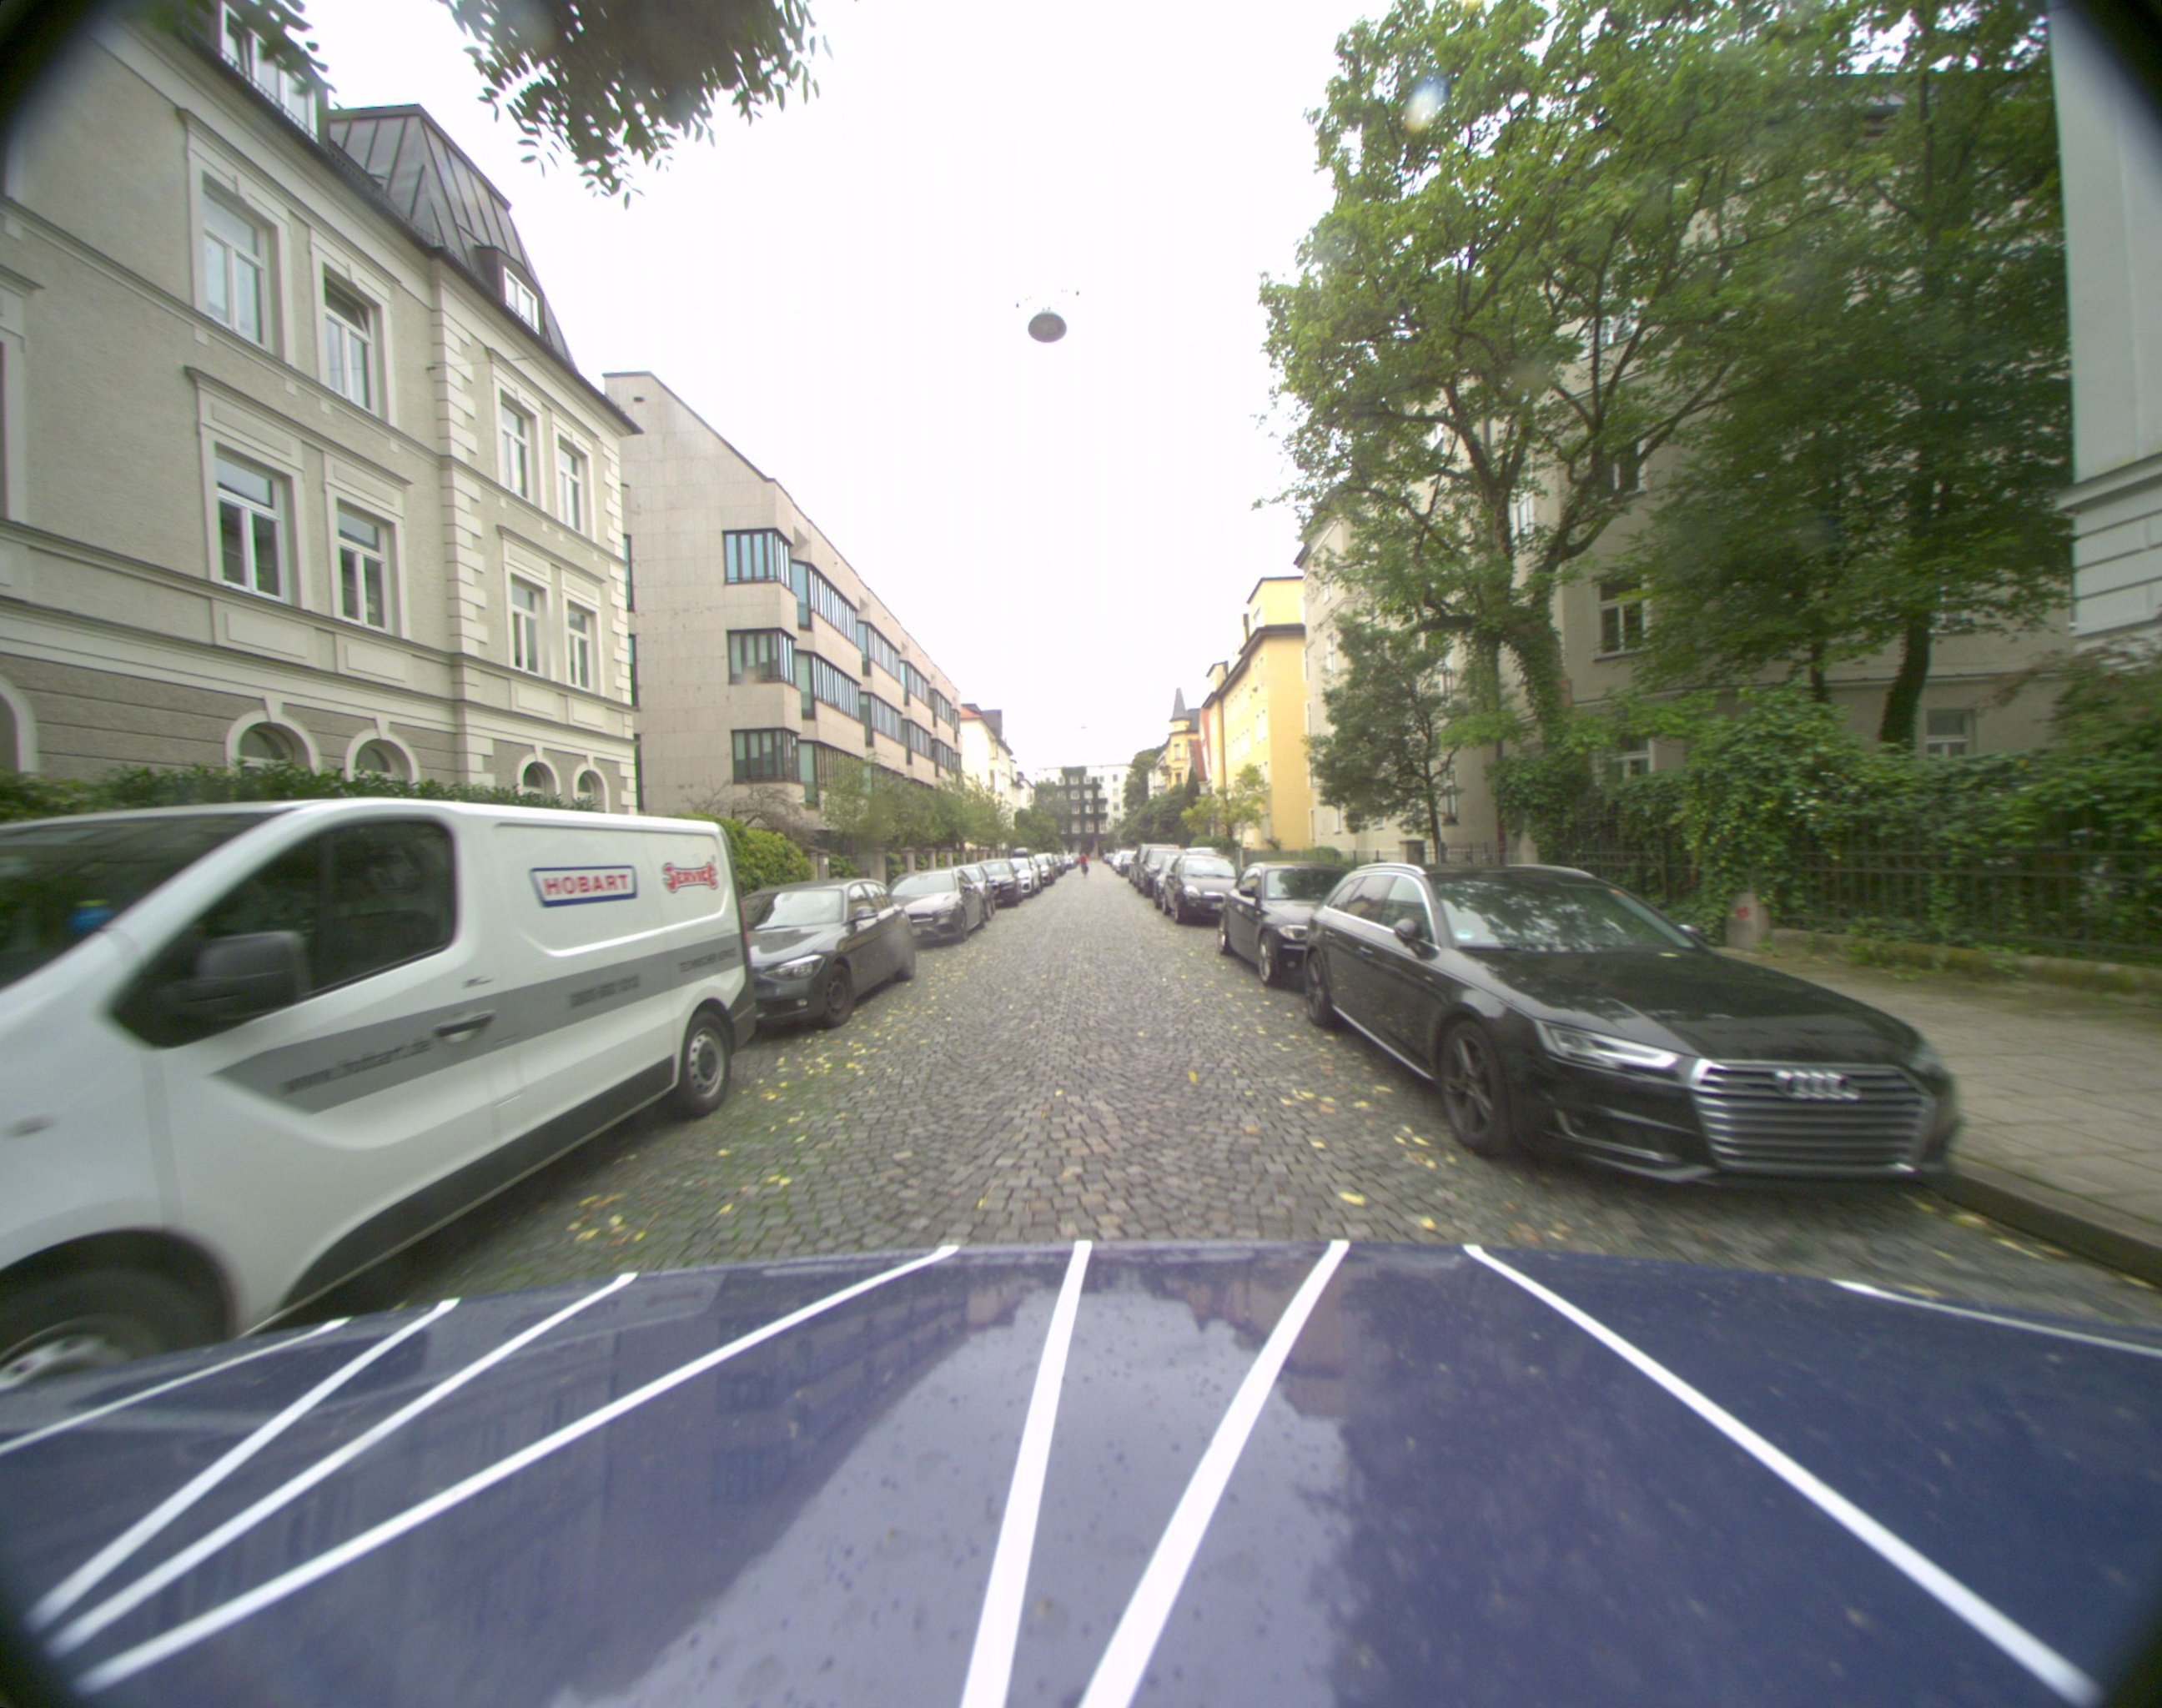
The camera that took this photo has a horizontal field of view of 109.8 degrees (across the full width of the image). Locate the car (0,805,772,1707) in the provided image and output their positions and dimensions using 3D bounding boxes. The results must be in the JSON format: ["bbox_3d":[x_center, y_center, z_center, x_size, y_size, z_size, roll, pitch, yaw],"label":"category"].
[{"bbox_3d":[-3.306,0.919,3.093,1.878,1.917,5.163,-5,0,-1],"label":"car"}]

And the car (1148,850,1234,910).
[{"bbox_3d":[3.097,0.660,22.332,1.983,1.552,5.017,0,0,2],"label":"car"}]

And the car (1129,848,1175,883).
[{"bbox_3d":[3.578,0.560,39.144,1.870,1.725,4.403,0,0,-1],"label":"car"}]

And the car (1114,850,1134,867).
[{"bbox_3d":[4.028,0.446,72.202,1.718,1.553,4.390,0,0,1],"label":"car"}]

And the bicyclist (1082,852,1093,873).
[{"bbox_3d":[0.447,0.560,50.740,0.648,1.350,0.656,-4,1,1],"label":"bicyclist"}]

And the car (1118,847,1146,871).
[{"bbox_3d":[3.926,0.365,58.829,2.011,1.798,5.174,0,0,2],"label":"car"}]

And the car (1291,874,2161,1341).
[{"bbox_3d":[2.808,0.911,4.779,1.891,1.409,4.407,1,0,2],"label":"car"}]

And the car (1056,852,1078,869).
[{"bbox_3d":[-1.480,0.671,82.539,1.998,1.543,5.014,-5,0,1],"label":"car"}]

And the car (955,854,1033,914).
[{"bbox_3d":[-2.831,0.918,25.755,1.878,1.660,4.657,-5,0,2],"label":"car"}]

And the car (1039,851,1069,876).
[{"bbox_3d":[-2.038,0.692,58.143,1.865,1.692,4.813,-5,0,1],"label":"car"}]

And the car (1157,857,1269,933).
[{"bbox_3d":[2.834,0.811,17.163,1.666,1.435,4.170,-1,0,-2],"label":"car"}]

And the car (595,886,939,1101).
[{"bbox_3d":[-3.112,1.297,8.721,1.841,1.481,4.421,-5,0,2],"label":"car"}]

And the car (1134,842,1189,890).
[{"bbox_3d":[3.389,0.481,32.790,1.878,1.906,4.827,0,0,0],"label":"car"}]

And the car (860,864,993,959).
[{"bbox_3d":[-2.968,1.047,15.547,1.717,1.464,4.268,-5,0,0],"label":"car"}]

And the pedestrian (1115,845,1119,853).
[{"bbox_3d":[8.058,-1.166,172.018,0.665,1.905,0.863,-4,1,10],"label":"pedestrian"}]

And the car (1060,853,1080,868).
[{"bbox_3d":[-1.260,0.712,87.776,1.998,1.543,4.986,-4,0,2],"label":"car"}]

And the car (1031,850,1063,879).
[{"bbox_3d":[-2.310,0.696,52.706,1.793,1.786,4.509,-6,0,0],"label":"car"}]

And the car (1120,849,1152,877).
[{"bbox_3d":[3.748,0.573,52.269,1.922,1.725,4.755,2,1,2],"label":"car"}]

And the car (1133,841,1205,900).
[{"bbox_3d":[3.066,0.528,27.576,1.998,1.906,5.177,1,0,0],"label":"car"}]

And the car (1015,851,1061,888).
[{"bbox_3d":[-2.238,0.778,41.156,1.877,1.725,4.892,-4,0,3],"label":"car"}]

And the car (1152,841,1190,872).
[{"bbox_3d":[6.260,0.167,53.477,1.999,1.920,5.330,-4,0,0],"label":"car"}]

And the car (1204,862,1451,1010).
[{"bbox_3d":[2.879,0.862,9.999,1.787,1.409,4.496,1,0,0],"label":"car"}]

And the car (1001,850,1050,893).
[{"bbox_3d":[-2.551,0.763,35.862,1.878,1.725,4.747,-6,0,-1],"label":"car"}]

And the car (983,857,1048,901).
[{"bbox_3d":[-2.536,0.941,30.728,1.877,1.481,4.617,-5,0,3],"label":"car"}]

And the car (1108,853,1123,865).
[{"bbox_3d":[4.744,0.645,105.732,1.744,1.577,4.191,-1,1,-2],"label":"car"}]

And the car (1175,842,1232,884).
[{"bbox_3d":[5.861,0.387,36.902,1.950,1.725,4.657,-5,0,1],"label":"car"}]

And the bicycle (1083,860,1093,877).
[{"bbox_3d":[0.474,0.962,51.011,0.636,1.021,1.955,-3,1,1],"label":"bicycle"}]

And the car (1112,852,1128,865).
[{"bbox_3d":[4.501,0.455,87.926,1.819,1.447,4.913,0,1,2],"label":"car"}]

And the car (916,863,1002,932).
[{"bbox_3d":[-3.126,1.058,20.150,1.698,1.432,4.060,-5,0,-3],"label":"car"}]
